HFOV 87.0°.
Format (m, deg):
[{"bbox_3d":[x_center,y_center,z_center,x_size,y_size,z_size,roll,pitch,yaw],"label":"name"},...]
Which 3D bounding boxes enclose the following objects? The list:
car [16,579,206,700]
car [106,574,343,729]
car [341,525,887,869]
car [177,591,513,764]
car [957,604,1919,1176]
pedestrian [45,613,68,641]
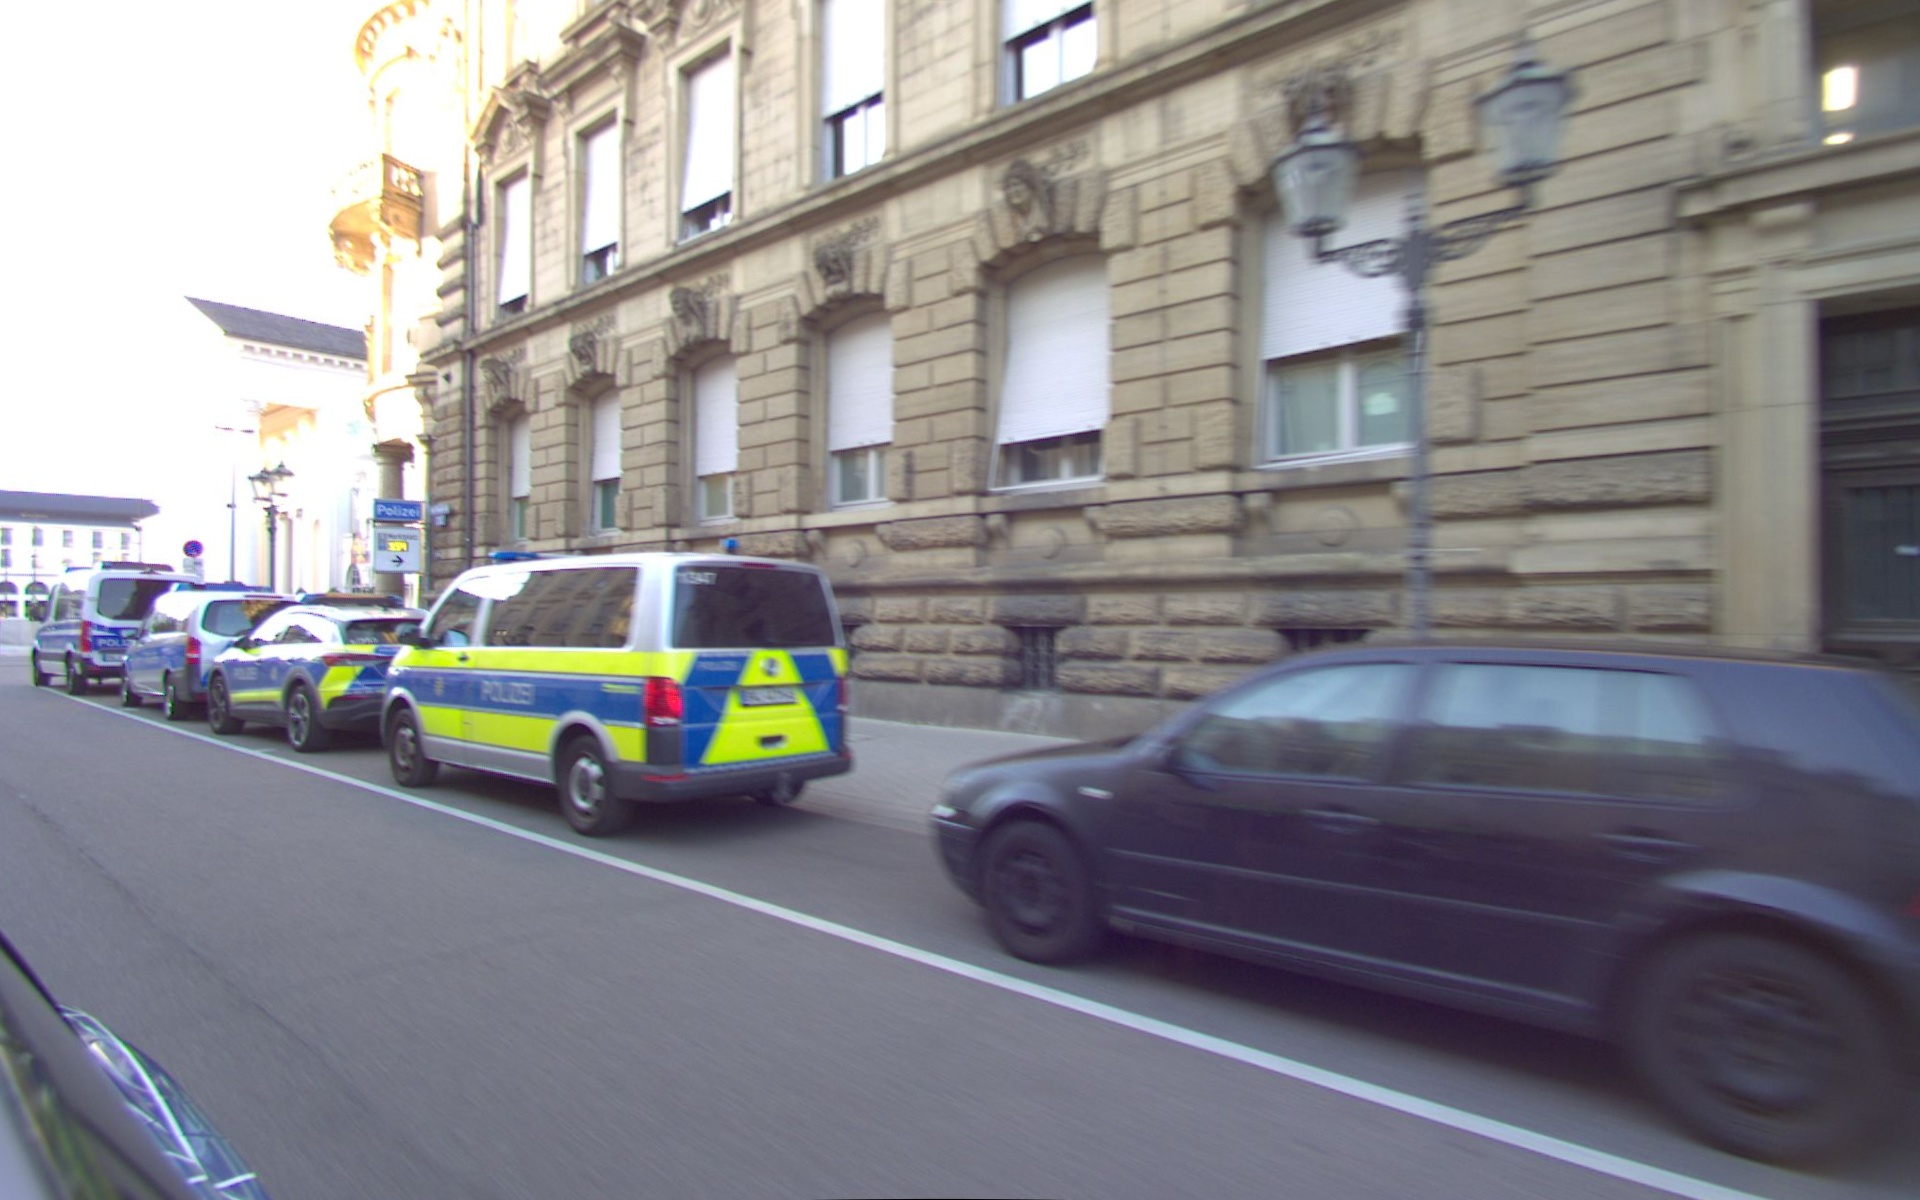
[{"bbox_3d":[-17.406,0.757,20.658,5.200,2.188,1.974,-1,-1,38],"label":"car"},{"bbox_3d":[-11.943,0.738,16.272,5.205,2.103,1.972,-1,-2,41],"label":"car"},{"bbox_3d":[-3.115,0.611,8.509,4.984,2.093,1.974,0,-1,39],"label":"car"},{"bbox_3d":[-7.840,0.826,12.699,4.983,1.765,1.974,0,-1,38],"label":"car"},{"bbox_3d":[2.192,0.792,4.303,4.163,1.506,1.972,0,-1,41],"label":"car"},{"bbox_3d":[-61.968,1.840,69.418,0.881,1.926,1.077,-1,-2,44],"label":"pedestrian"}]
